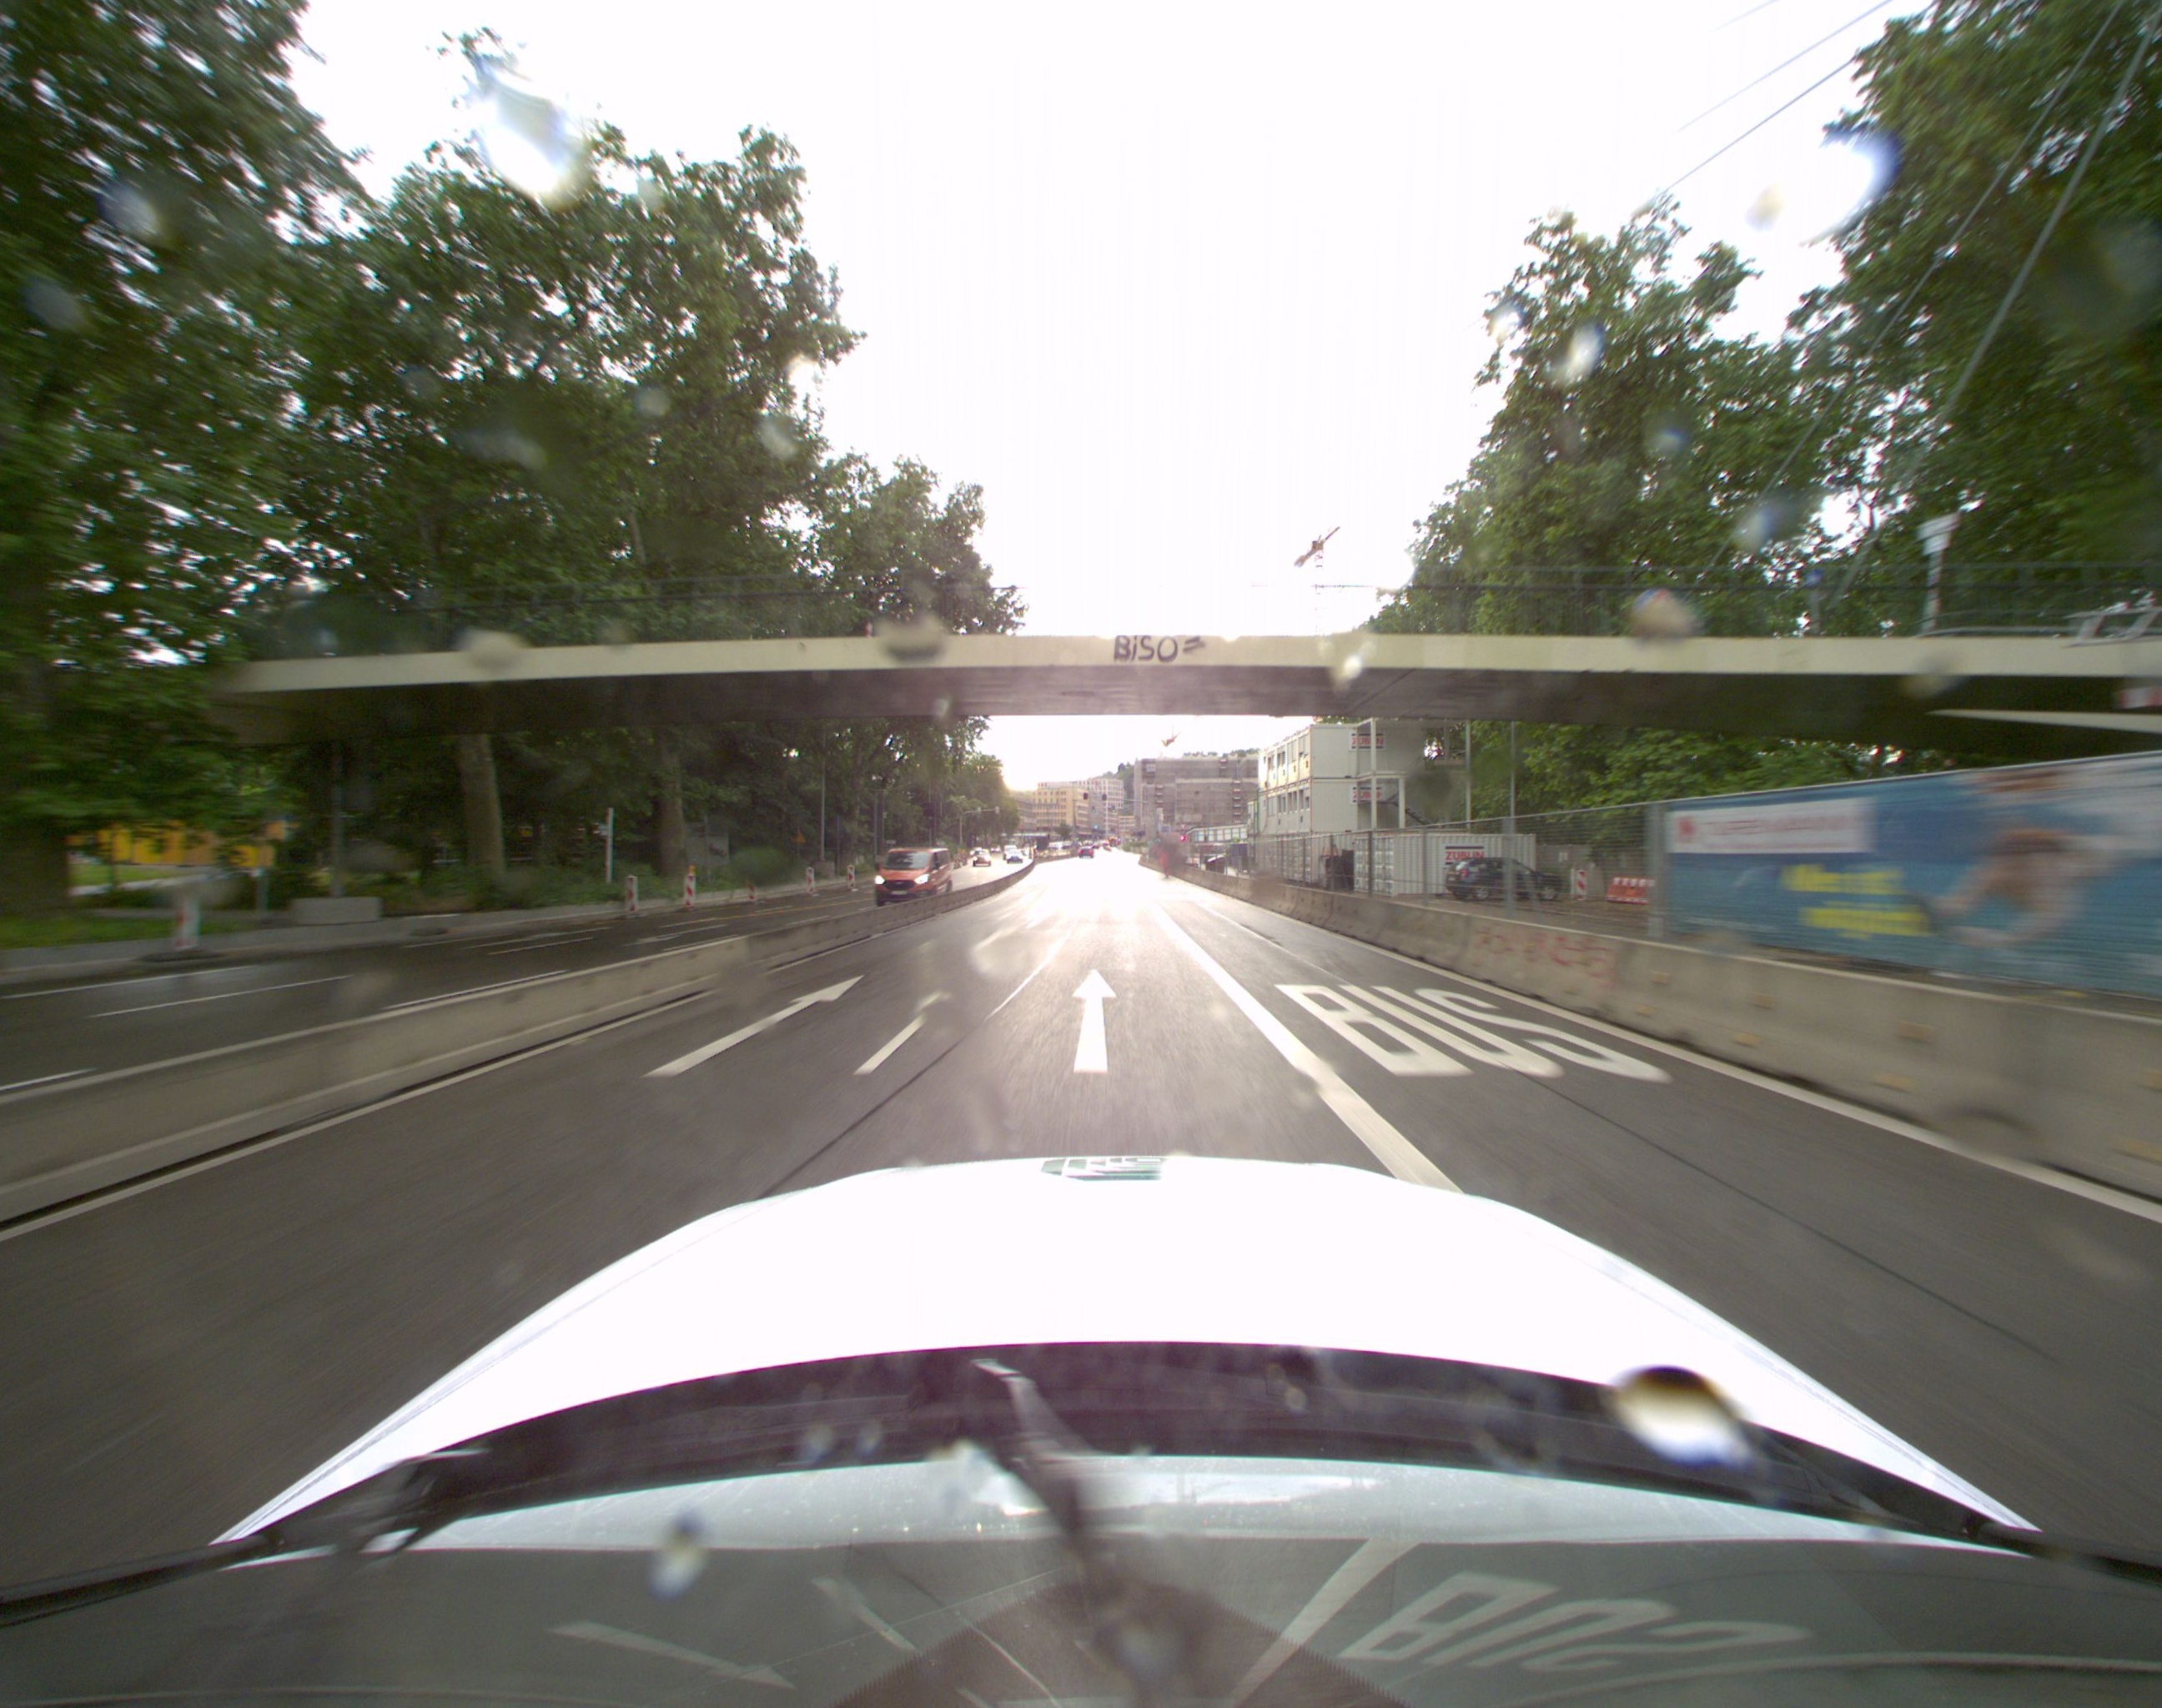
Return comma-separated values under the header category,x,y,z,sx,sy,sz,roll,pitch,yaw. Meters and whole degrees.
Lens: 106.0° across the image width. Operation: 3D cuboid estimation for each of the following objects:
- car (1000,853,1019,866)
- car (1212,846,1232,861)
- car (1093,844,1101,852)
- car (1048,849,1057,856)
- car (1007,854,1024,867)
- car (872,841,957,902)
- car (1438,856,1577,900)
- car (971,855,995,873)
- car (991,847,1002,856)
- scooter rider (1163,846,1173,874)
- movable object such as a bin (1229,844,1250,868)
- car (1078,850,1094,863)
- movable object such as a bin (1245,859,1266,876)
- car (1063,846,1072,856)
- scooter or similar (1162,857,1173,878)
category,x,y,z,sx,sy,sz,roll,pitch,yaw
car,-9.292,0.701,105.715,2.024,1.653,4.910,-2,-1,0
car,18.547,-0.048,107.294,1.840,1.806,5.086,0,1,0
car,4.039,-1.500,205.168,1.986,2.014,4.001,-2,-2,2
car,-6.518,-0.373,186.208,1.897,1.528,4.173,-2,-2,-2
car,-7.106,0.725,88.759,1.709,1.339,4.055,-2,-1,-5
car,-5.859,0.657,29.329,2.025,1.936,5.041,-2,-2,-1
car,16.494,0.907,31.635,4.530,1.629,1.787,0,0,-2
car,-9.678,0.968,80.477,2.026,1.653,4.314,-1,1,-3
car,-16.643,-0.503,161.383,1.990,1.541,4.438,-2,-2,-4
scooter rider,5.659,0.401,53.172,0.595,1.785,0.998,0,0,3
movable object such as a bin,14.723,0.203,75.842,1.463,2.203,1.255,0,1,-23
car,0.620,0.290,107.441,1.897,1.528,4.173,-2,-2,-2
movable object such as a bin,12.606,0.985,58.898,1.243,1.123,1.239,-2,-2,-1
car,-3.129,-0.632,186.549,1.897,2.083,4.173,-2,-2,-2
scooter or similar,5.657,0.860,53.212,0.595,1.319,1.668,0,0,3
